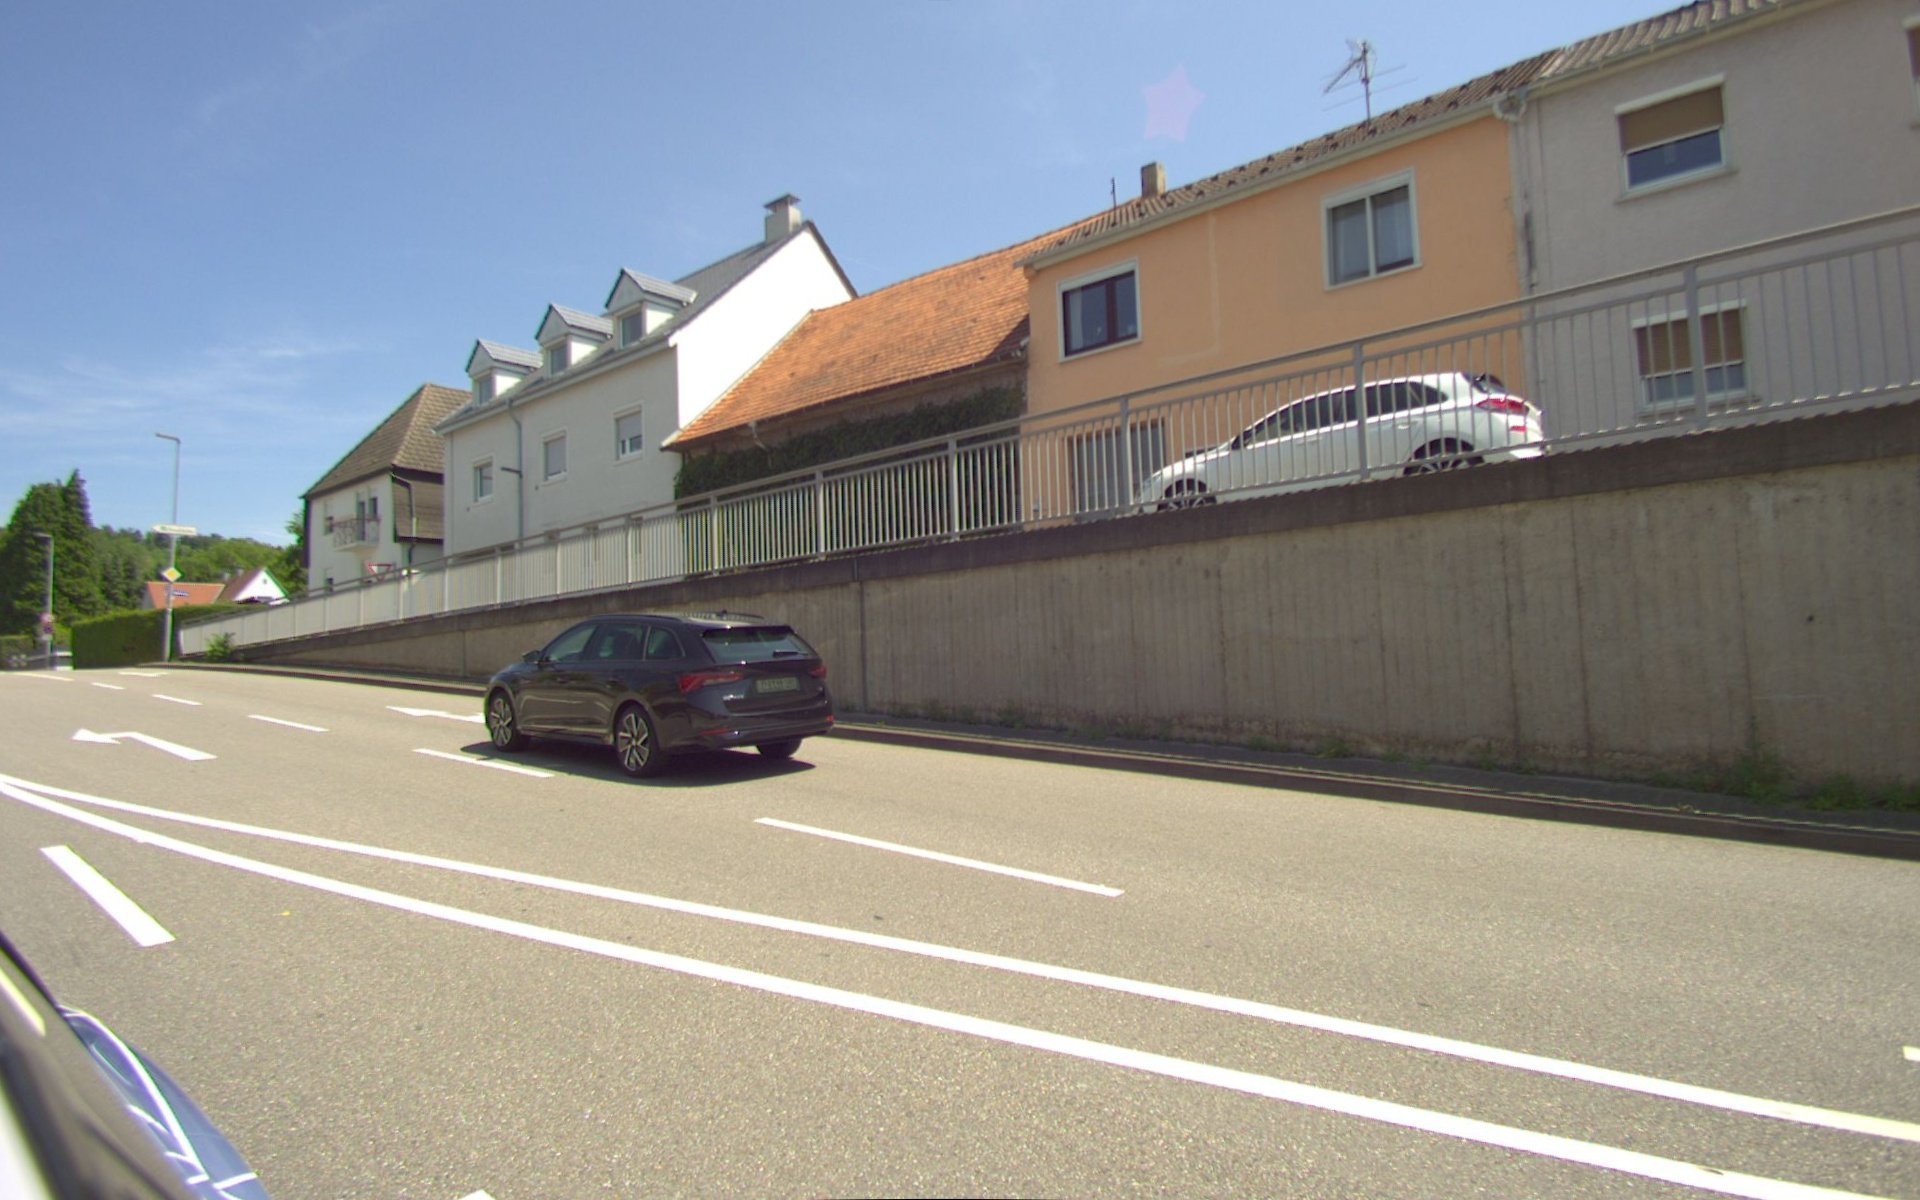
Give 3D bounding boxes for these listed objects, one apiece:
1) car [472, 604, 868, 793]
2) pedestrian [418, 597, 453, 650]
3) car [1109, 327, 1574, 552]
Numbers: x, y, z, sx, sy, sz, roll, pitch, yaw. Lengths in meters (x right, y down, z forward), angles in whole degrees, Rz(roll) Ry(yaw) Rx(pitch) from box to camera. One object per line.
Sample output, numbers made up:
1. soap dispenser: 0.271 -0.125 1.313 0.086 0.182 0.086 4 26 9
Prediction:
1. car: -3.067 0.830 10.170 4.366 1.500 1.742 -1 -1 41
2. pedestrian: -17.458 0.787 33.691 0.855 1.742 0.720 -2 -2 37
3. car: 3.984 -1.511 10.930 4.302 1.474 1.796 -5 -4 37
